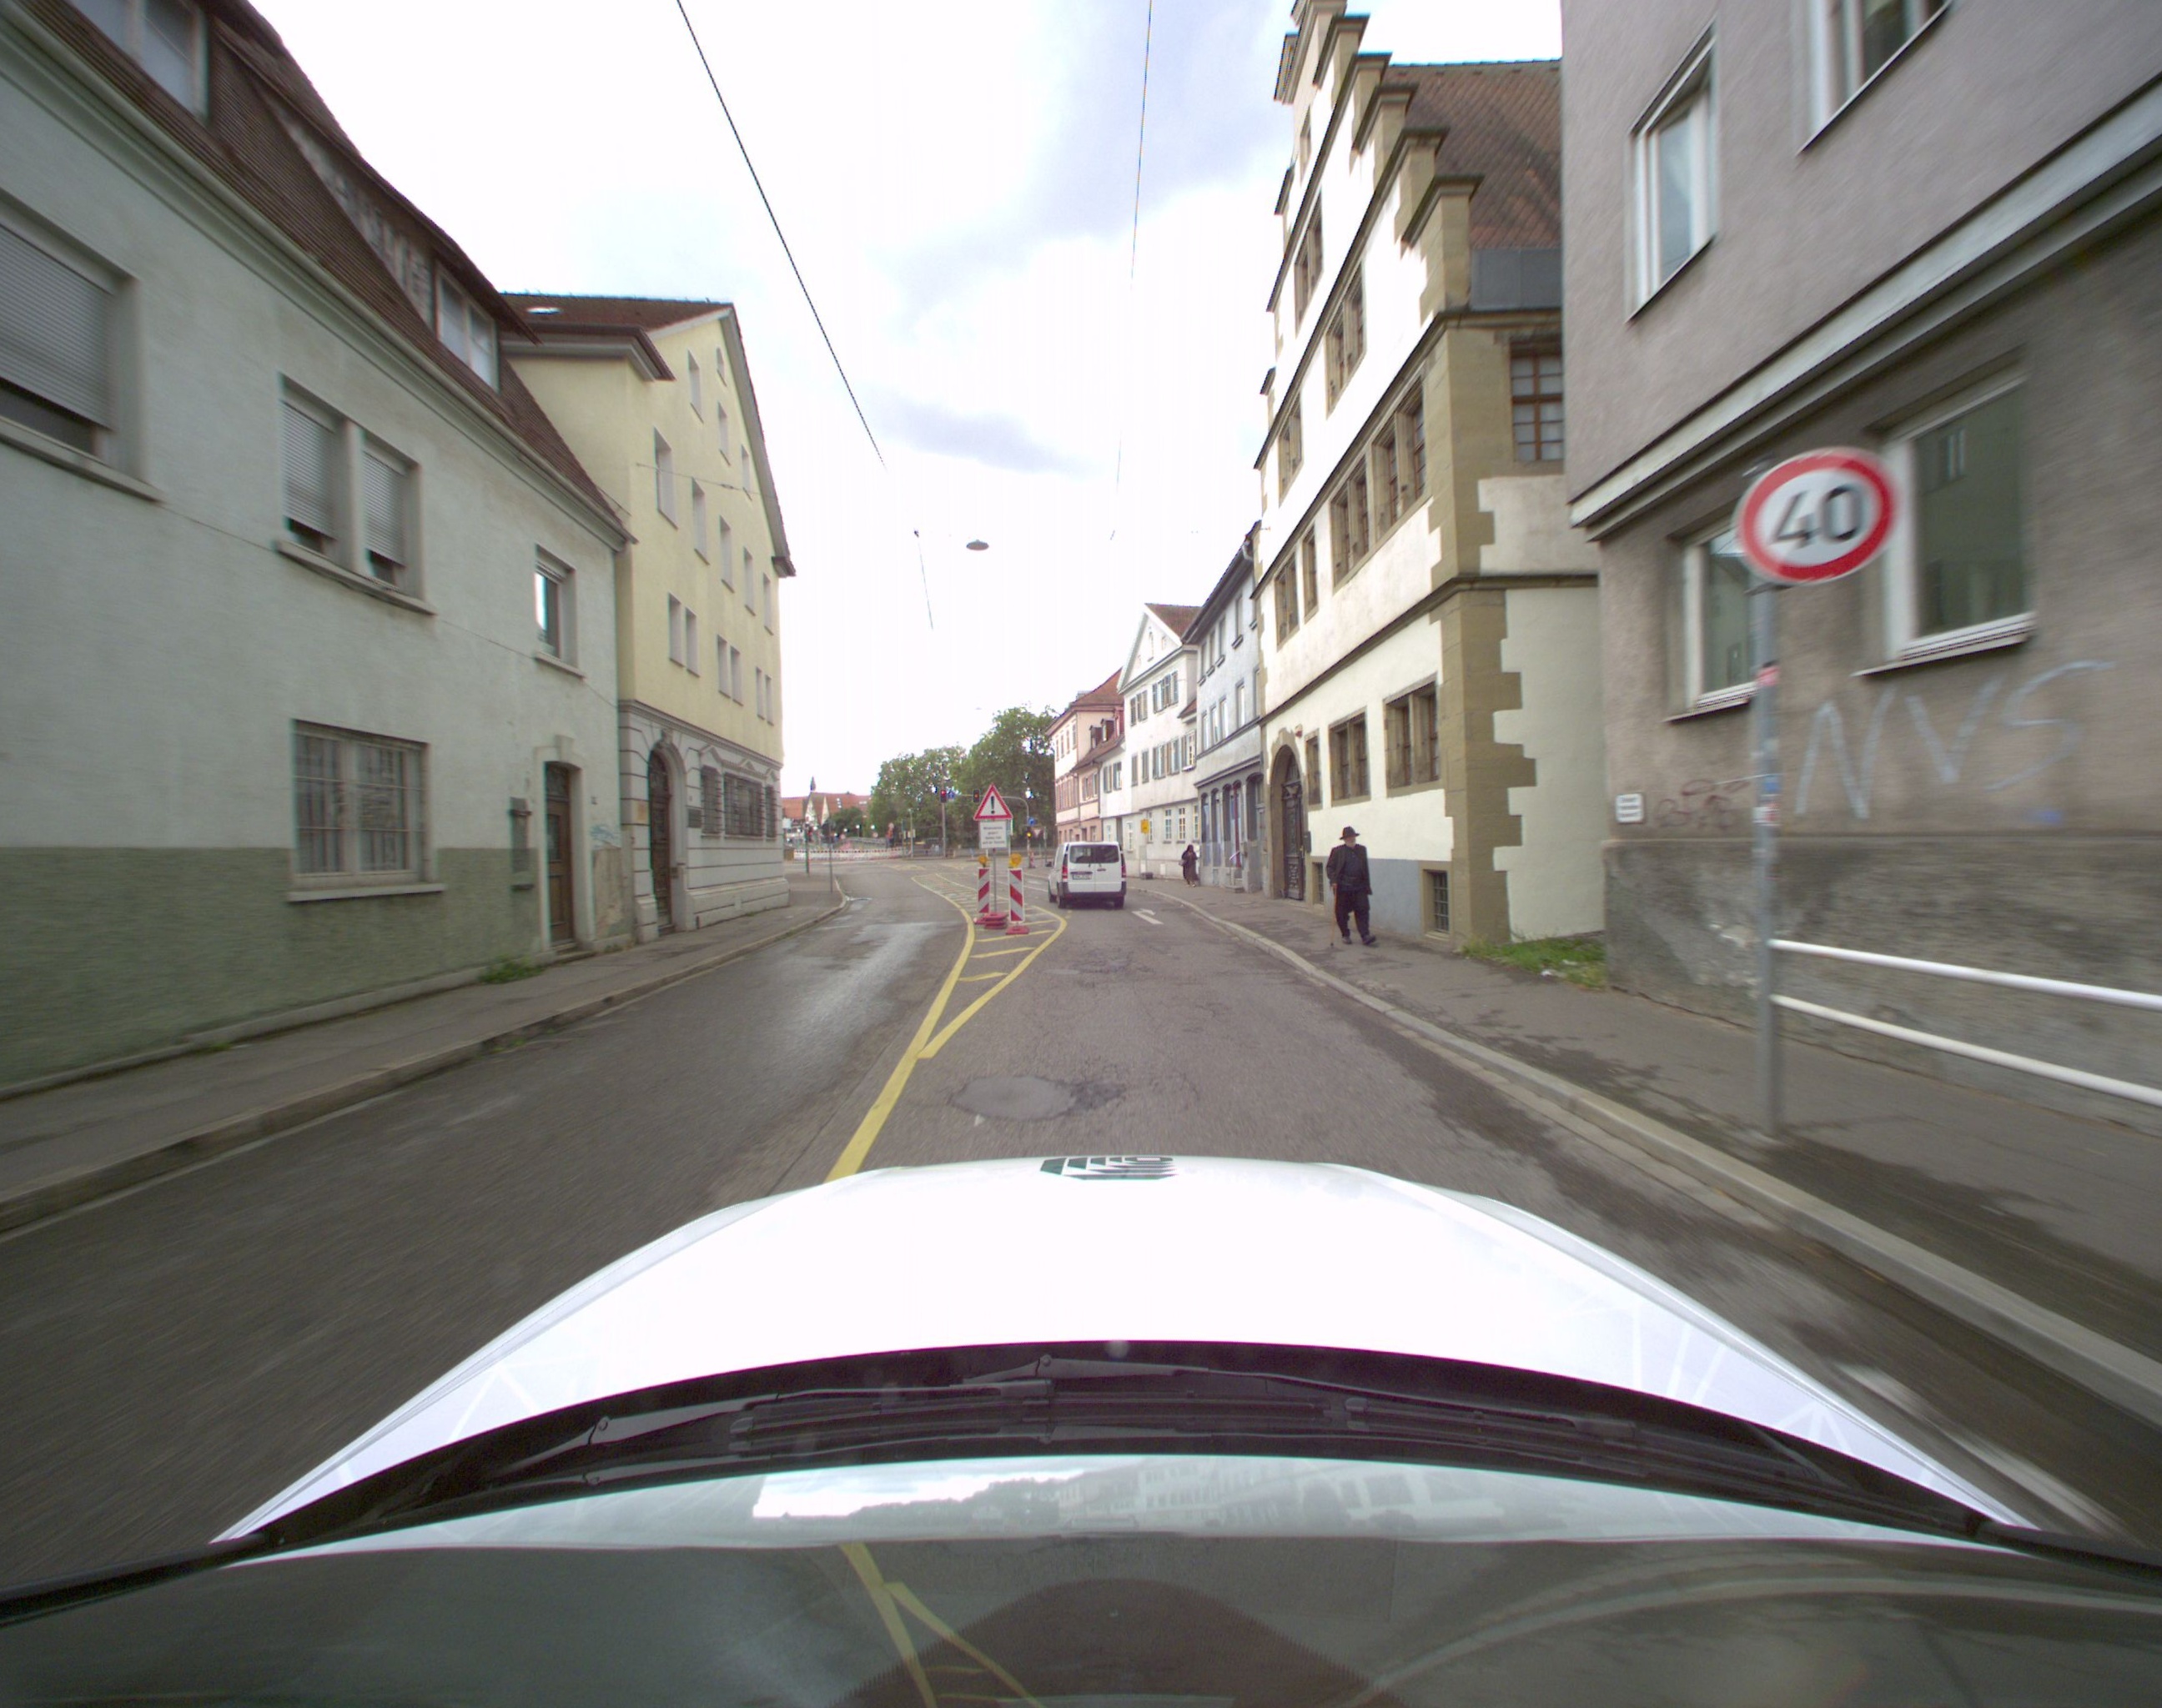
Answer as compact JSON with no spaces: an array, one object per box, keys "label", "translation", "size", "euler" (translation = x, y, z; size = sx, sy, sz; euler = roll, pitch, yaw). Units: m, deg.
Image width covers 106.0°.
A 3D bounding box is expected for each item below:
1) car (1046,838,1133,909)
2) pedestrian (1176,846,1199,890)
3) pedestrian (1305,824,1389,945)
[{"label":"car","translation":[0.144,0.532,24.284],"size":[1.992,1.923,4.237],"euler":[0,0,-8]},{"label":"pedestrian","translation":[4.105,0.520,31.389],"size":[0.752,1.667,0.809],"euler":[-1,0,0]},{"label":"pedestrian","translation":[3.888,0.439,11.971],"size":[0.829,1.656,0.944],"euler":[-4,-1,1]}]
